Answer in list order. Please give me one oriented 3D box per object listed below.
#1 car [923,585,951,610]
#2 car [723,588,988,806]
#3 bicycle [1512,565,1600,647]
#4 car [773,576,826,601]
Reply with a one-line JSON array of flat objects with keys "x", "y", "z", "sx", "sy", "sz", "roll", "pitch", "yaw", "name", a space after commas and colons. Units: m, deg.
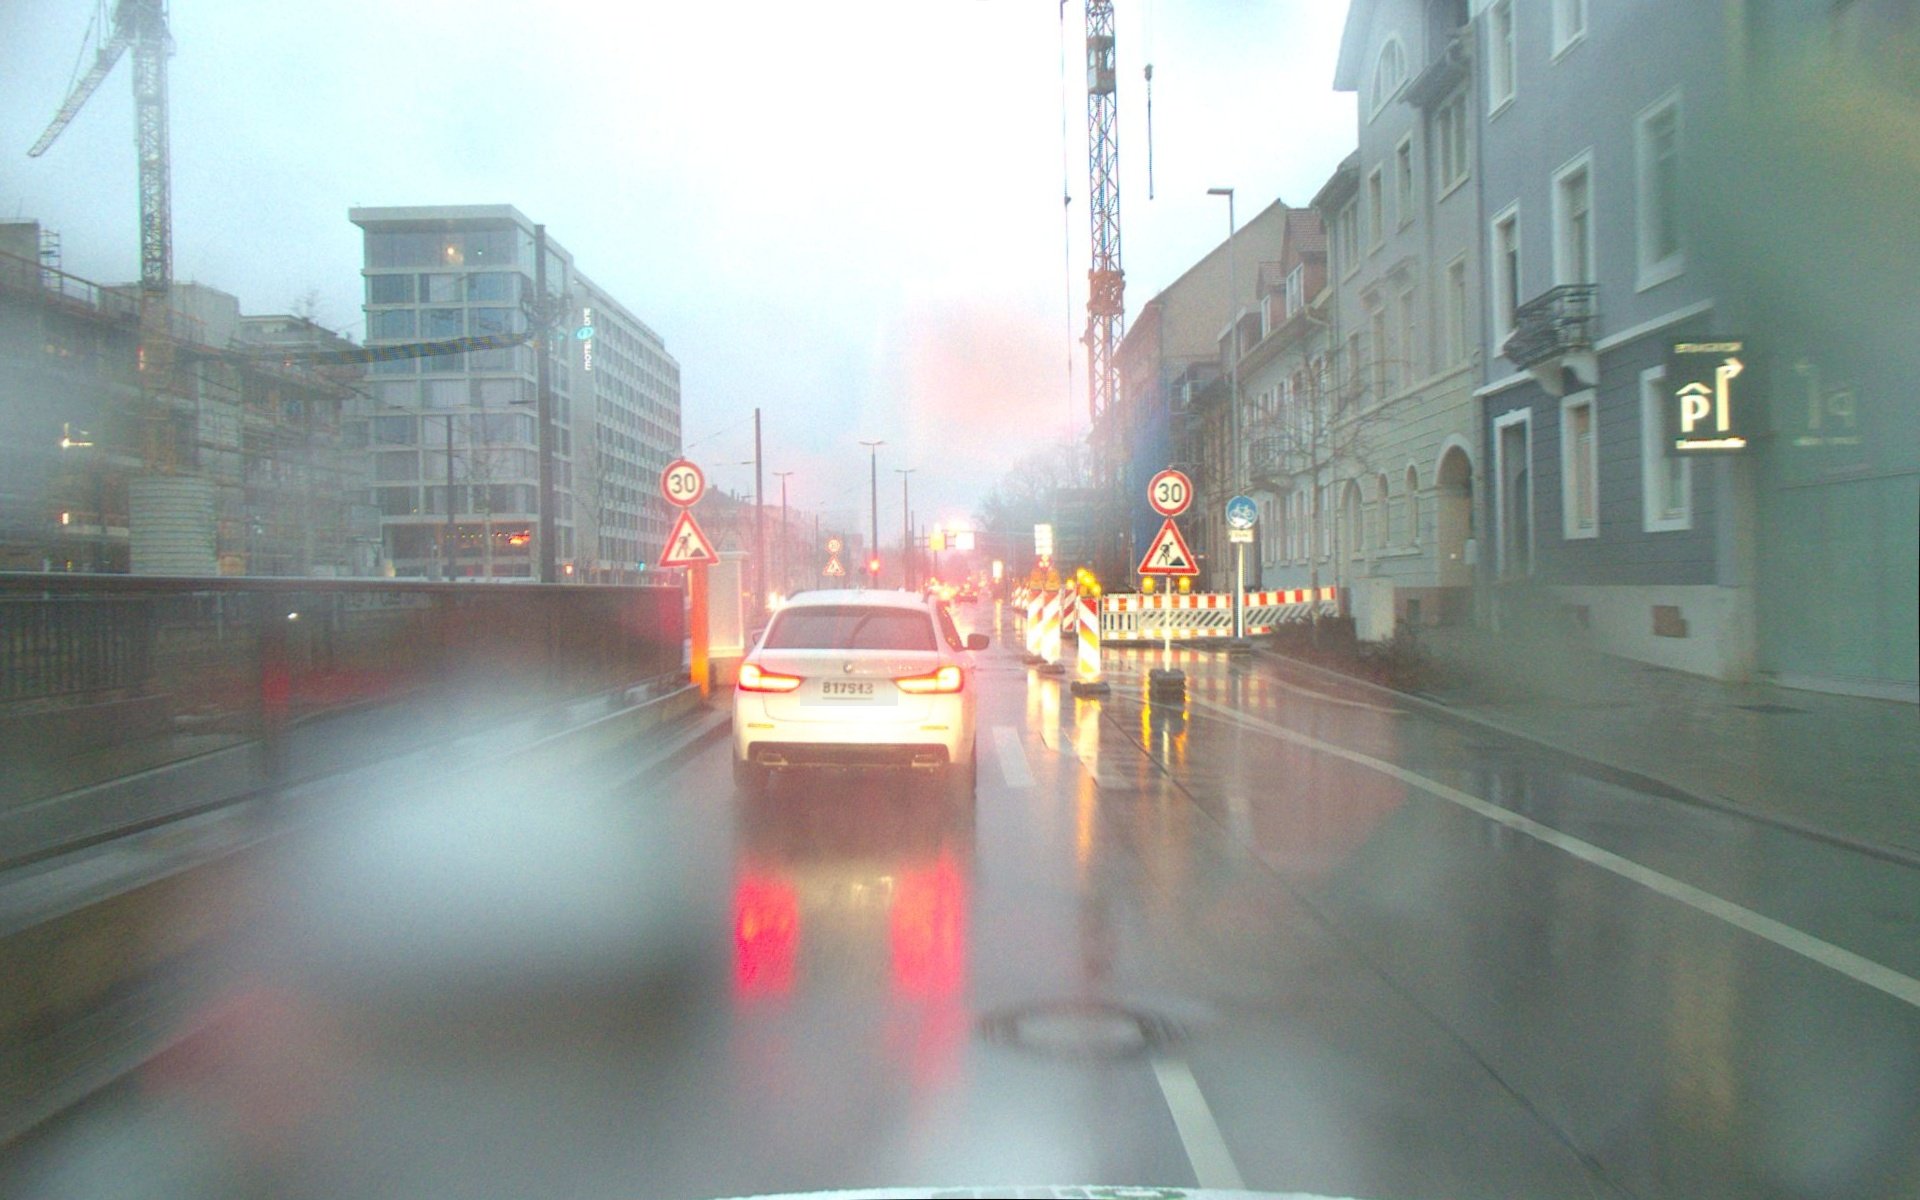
[{"x": -1.617, "y": -0.196, "z": 116.162, "sx": 1.862, "sy": 1.670, "sz": 4.000, "roll": 0, "pitch": 0, "yaw": 0, "name": "car"}, {"x": -0.730, "y": 0.645, "z": 13.829, "sx": 1.814, "sy": 1.491, "sz": 4.946, "roll": 0, "pitch": 0, "yaw": 0, "name": "car"}, {"x": 9.765, "y": 0.093, "z": 27.162, "sx": 0.669, "sy": 1.243, "sz": 1.905, "roll": -4, "pitch": 0, "yaw": -1, "name": "bicycle"}, {"x": -12.909, "y": -0.914, "z": 133.188, "sx": 3.926, "sy": 2.009, "sz": 1.990, "roll": 0, "pitch": 0, "yaw": -19, "name": "car"}]
